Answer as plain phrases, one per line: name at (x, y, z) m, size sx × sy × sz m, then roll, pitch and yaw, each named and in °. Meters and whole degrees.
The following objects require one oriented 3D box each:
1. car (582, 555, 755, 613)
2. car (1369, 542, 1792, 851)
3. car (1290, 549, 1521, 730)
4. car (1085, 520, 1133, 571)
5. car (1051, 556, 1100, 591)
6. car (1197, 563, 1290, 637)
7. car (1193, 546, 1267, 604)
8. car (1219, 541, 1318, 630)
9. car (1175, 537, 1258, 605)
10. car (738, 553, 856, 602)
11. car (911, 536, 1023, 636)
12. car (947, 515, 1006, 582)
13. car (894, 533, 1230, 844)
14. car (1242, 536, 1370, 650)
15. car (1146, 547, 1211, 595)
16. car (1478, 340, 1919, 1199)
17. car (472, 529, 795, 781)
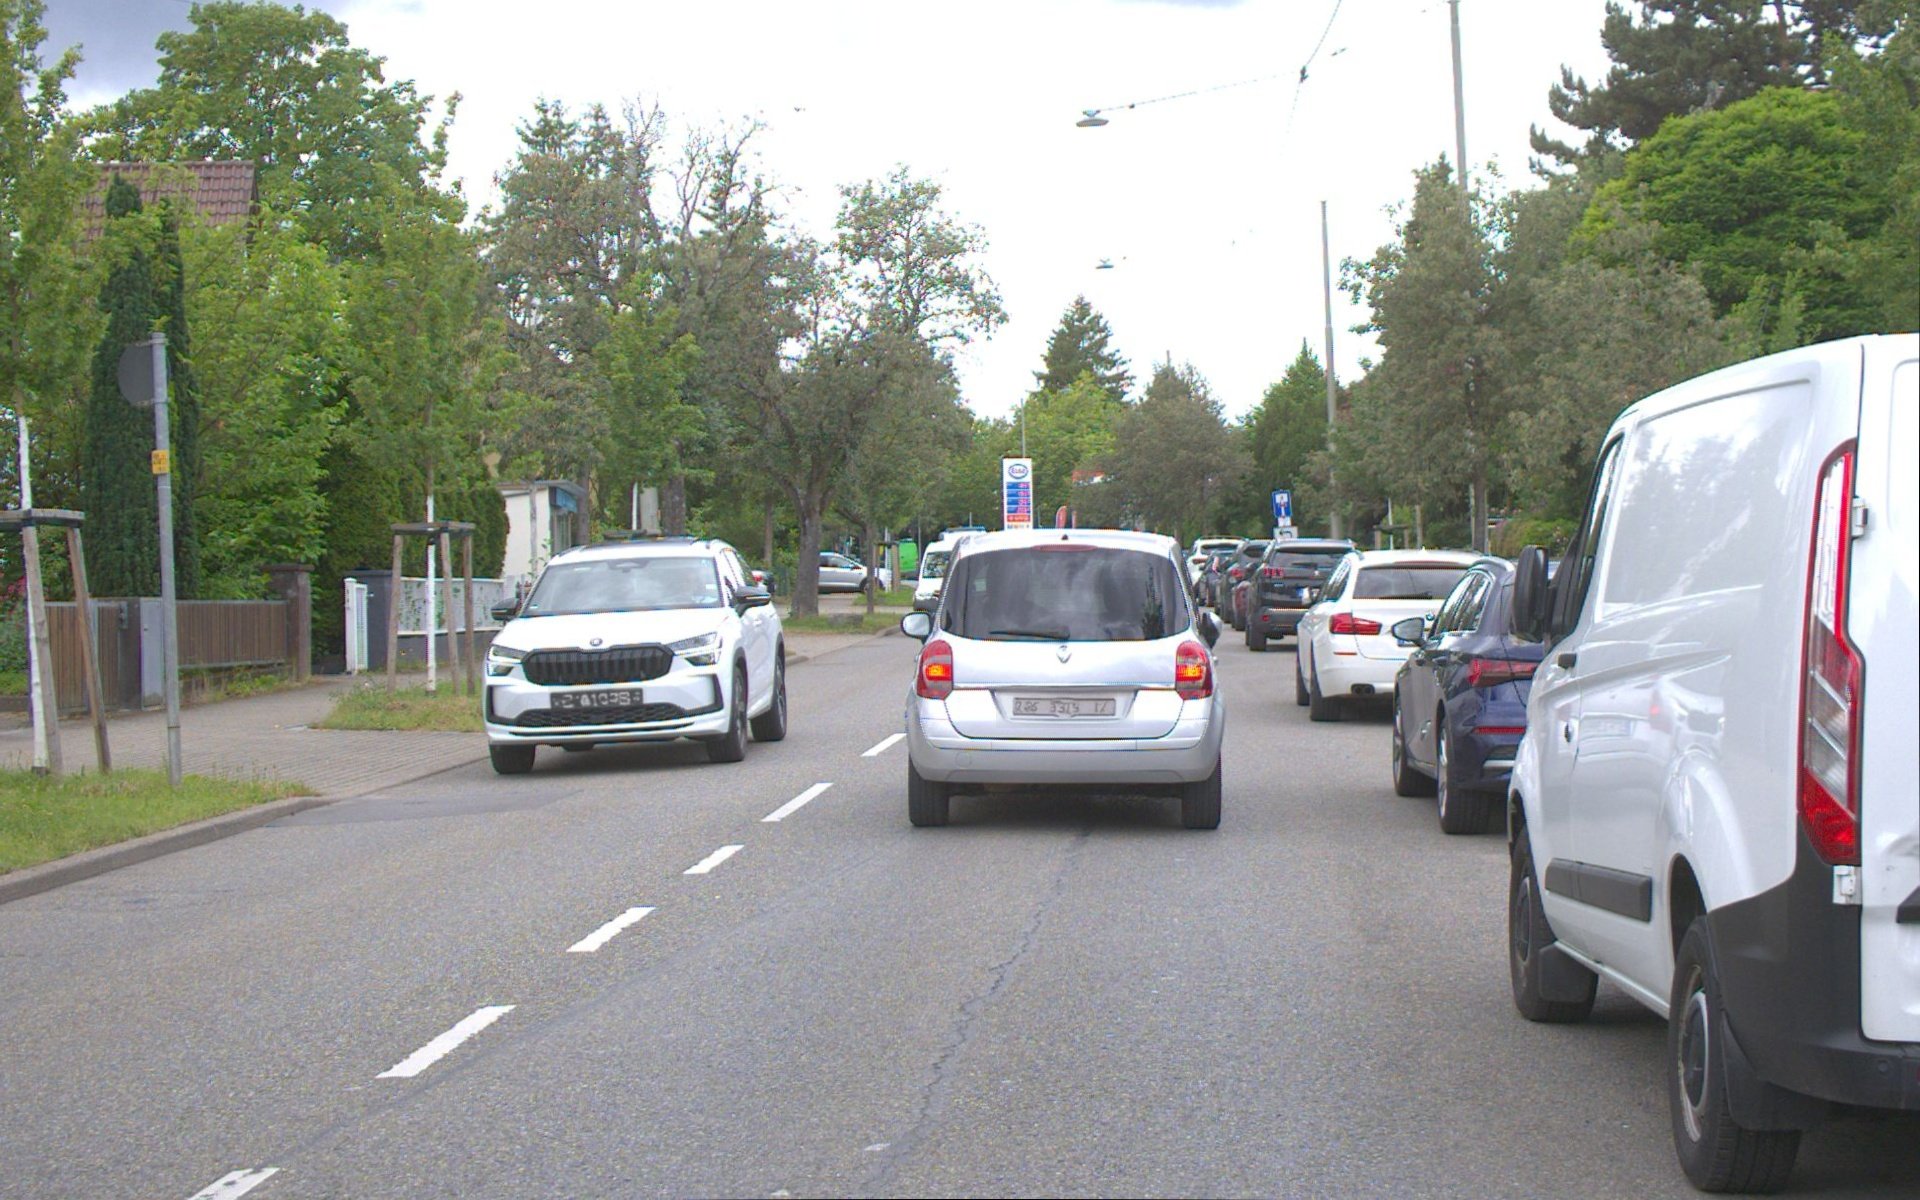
car at (-7.285, -0.405, 86.234) m, size 4.278 × 1.363 × 1.816 m, roll 1°, pitch 0°, yaw -3°
car at (3.288, 0.435, 18.943) m, size 1.665 × 1.511 × 4.221 m, roll 0°, pitch 1°, yaw 1°
car at (3.859, 0.289, 30.362) m, size 1.693 × 1.448 × 4.404 m, roll 0°, pitch 1°, yaw 3°
car at (8.634, -3.135, 199.772) m, size 2.281 × 2.901 × 5.280 m, roll 0°, pitch 1°, yaw -3°
car at (5.186, -1.199, 154.399) m, size 1.695 × 1.501 × 3.973 m, roll -1°, pitch 1°, yaw -5°
car at (4.970, -0.023, 60.571) m, size 1.481 × 1.232 × 3.884 m, roll 1°, pitch 1°, yaw 3°
car at (6.867, -0.643, 87.692) m, size 1.558 × 1.438 × 3.507 m, roll 0°, pitch 1°, yaw -1°
car at (6.130, -0.314, 68.681) m, size 1.830 × 1.706 × 4.549 m, roll 0°, pitch 1°, yaw 3°
car at (6.845, -0.791, 92.269) m, size 1.799 × 1.772 × 4.705 m, roll 0°, pitch 1°, yaw -1°
car at (-5.885, -0.805, 123.824) m, size 4.085 × 1.700 × 1.748 m, roll -1°, pitch 0°, yaw -9°
car at (0.167, -0.294, 64.967) m, size 1.795 × 1.746 × 4.298 m, roll -2°, pitch 1°, yaw 4°
car at (0.674, -2.081, 139.122) m, size 2.073 × 2.574 × 5.300 m, roll -3°, pitch 1°, yaw 2°
car at (0.603, 0.426, 19.115) m, size 1.679 × 1.554 × 3.511 m, roll 1°, pitch 1°, yaw 3°
car at (5.041, -0.134, 50.460) m, size 1.688 × 1.603 × 4.109 m, roll 0°, pitch 1°, yaw 3°
car at (6.808, -0.915, 107.489) m, size 1.626 × 1.447 × 3.876 m, roll 0°, pitch 1°, yaw -2°
car at (2.579, 0.398, 9.359) m, size 1.775 × 1.937 × 4.788 m, roll 0°, pitch 1°, yaw 2°
car at (-2.401, 0.357, 26.378) m, size 1.814 × 1.687 × 4.465 m, roll -3°, pitch 1°, yaw 2°
